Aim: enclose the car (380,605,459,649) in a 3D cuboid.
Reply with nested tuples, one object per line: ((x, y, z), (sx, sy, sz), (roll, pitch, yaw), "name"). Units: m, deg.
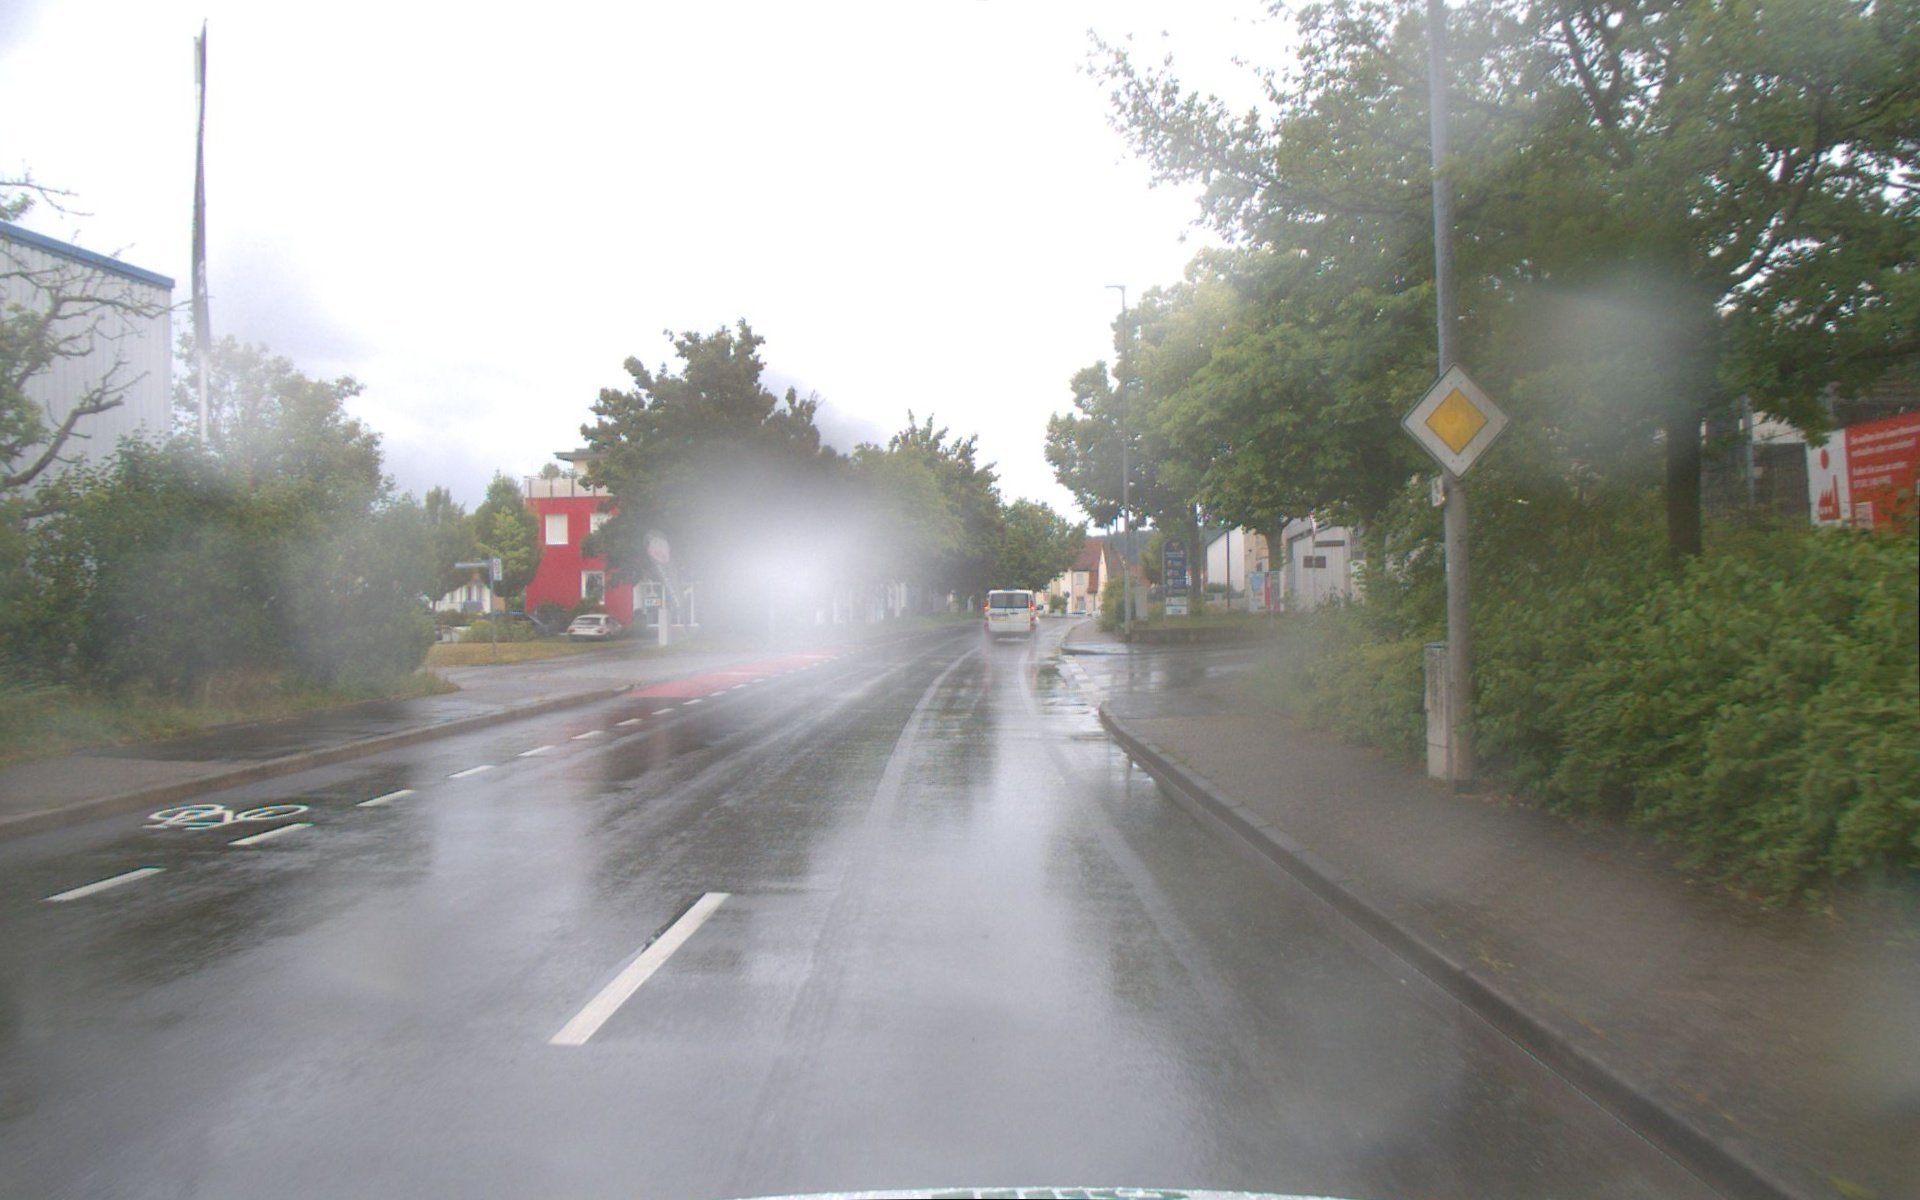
((-20.880, 1.031, 64.090), (2.074, 1.583, 4.161), (0, 1, -6), "car")

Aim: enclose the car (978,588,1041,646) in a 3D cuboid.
((1.710, 0.565, 58.779), (2.074, 1.921, 4.502), (0, 1, 0), "car")

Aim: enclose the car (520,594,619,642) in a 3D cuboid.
((-19.652, 0.896, 83.351), (4.382, 2.351, 2.186), (0, 0, 8), "car")
